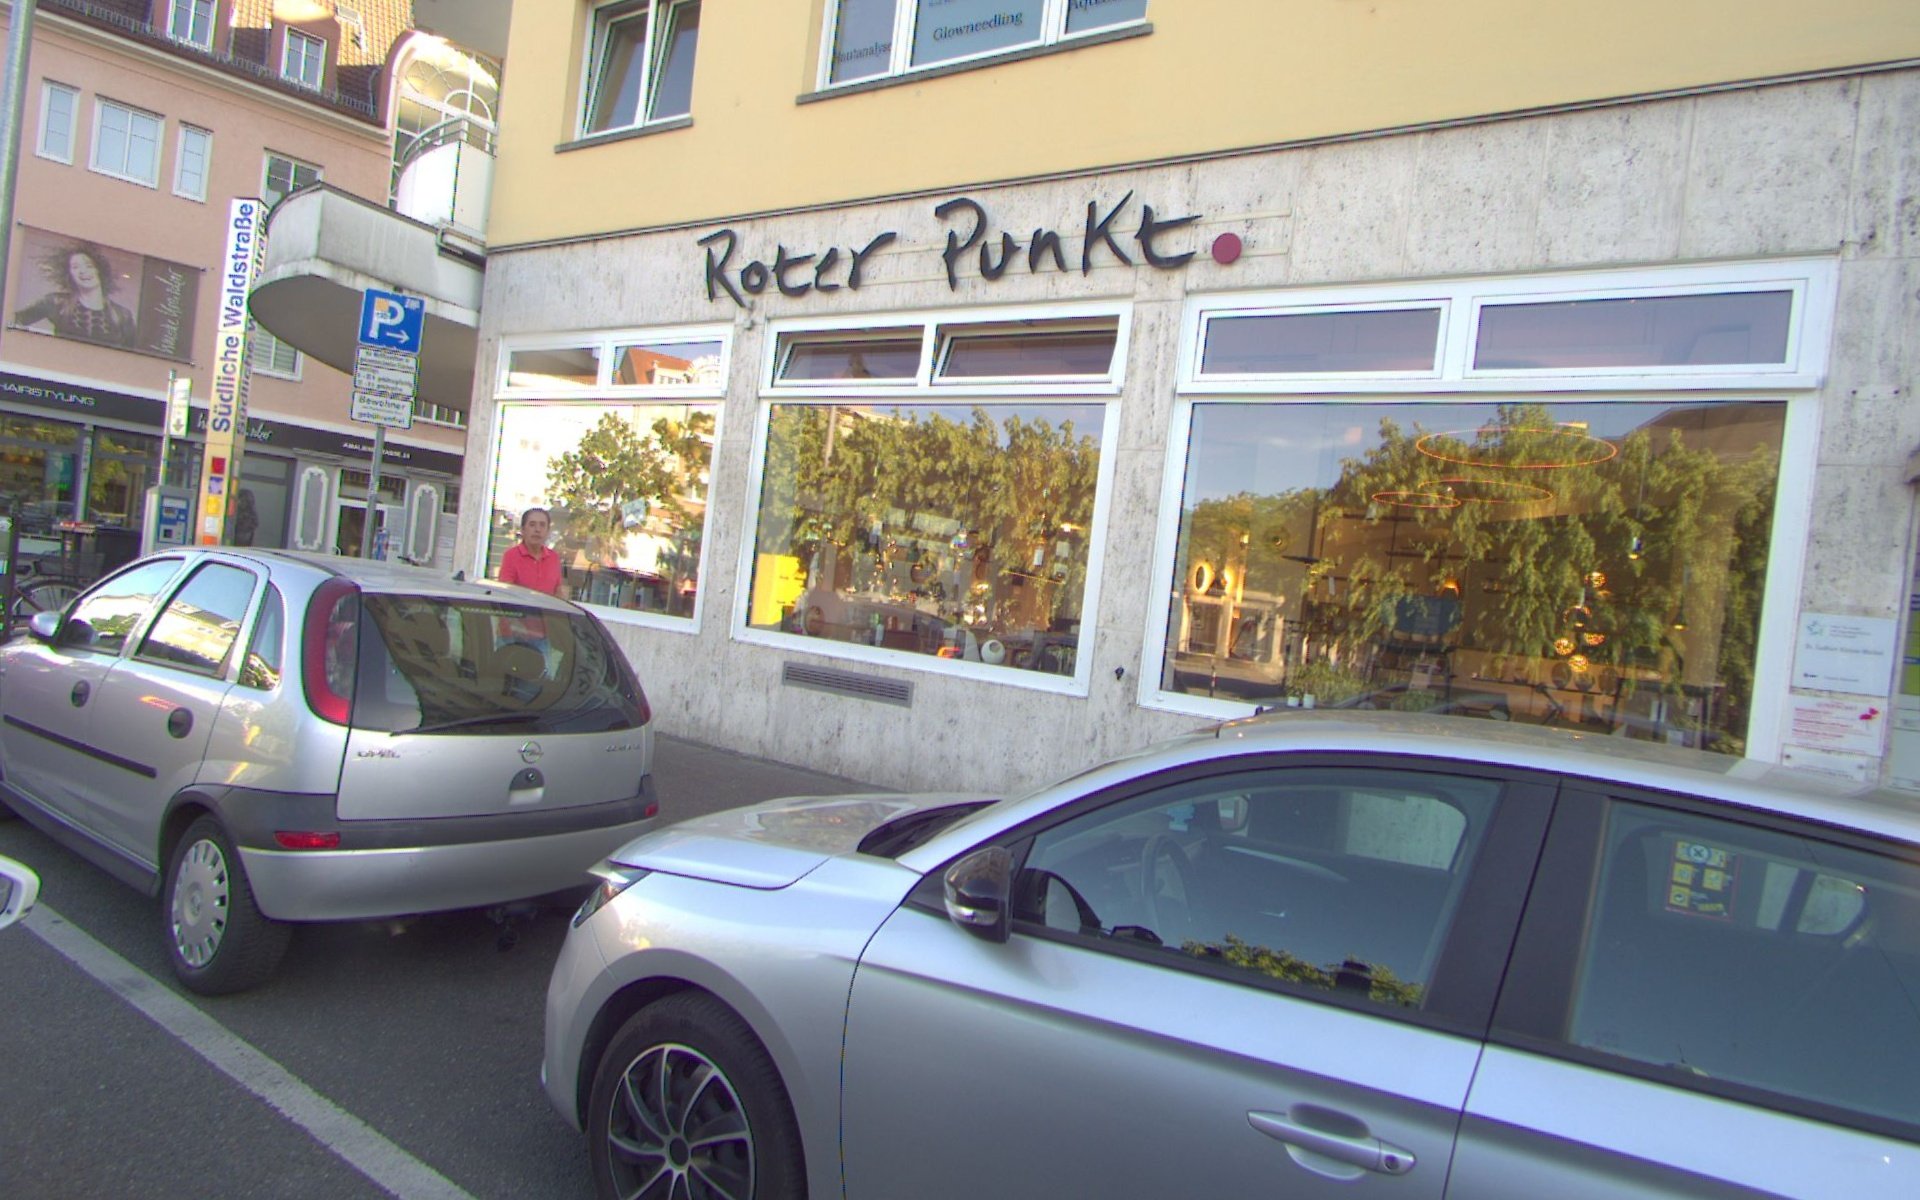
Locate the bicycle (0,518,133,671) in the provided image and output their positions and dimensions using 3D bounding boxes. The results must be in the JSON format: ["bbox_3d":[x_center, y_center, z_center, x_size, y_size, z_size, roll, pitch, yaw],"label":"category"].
[{"bbox_3d":[-8.083,-0.077,8.223,0.681,1.208,1.885,8,1,37],"label":"bicycle"}]

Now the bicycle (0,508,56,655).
[{"bbox_3d":[-9.088,-0.228,8.696,0.778,1.284,1.721,7,1,37],"label":"bicycle"}]

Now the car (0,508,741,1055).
[{"bbox_3d":[-2.919,0.488,4.456,3.583,1.397,1.616,7,-2,32],"label":"car"}]

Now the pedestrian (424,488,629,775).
[{"bbox_3d":[-3.015,0.188,6.991,0.994,1.808,0.862,7,3,40],"label":"pedestrian"}]

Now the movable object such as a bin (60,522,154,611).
[{"bbox_3d":[-11.880,-0.463,14.022,0.617,1.105,0.754,6,-1,34],"label":"movable object such as a bin"}]

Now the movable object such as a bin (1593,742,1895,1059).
[{"bbox_3d":[3.403,1.251,4.473,0.879,1.066,0.751,7,0,32],"label":"movable object such as a bin"}]

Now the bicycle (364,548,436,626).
[{"bbox_3d":[-10.031,-0.263,17.965,0.656,1.213,2.187,7,-1,-39],"label":"bicycle"}]

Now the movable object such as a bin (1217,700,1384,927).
[{"bbox_3d":[1.870,1.106,5.481,0.592,1.041,0.811,7,0,31],"label":"movable object such as a bin"}]

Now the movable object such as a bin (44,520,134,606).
[{"bbox_3d":[-12.416,-0.522,14.343,0.617,1.105,0.734,6,-1,34],"label":"movable object such as a bin"}]

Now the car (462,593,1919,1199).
[{"bbox_3d":[0.801,0.935,2.305,3.643,1.415,1.652,7,-1,30],"label":"car"}]
